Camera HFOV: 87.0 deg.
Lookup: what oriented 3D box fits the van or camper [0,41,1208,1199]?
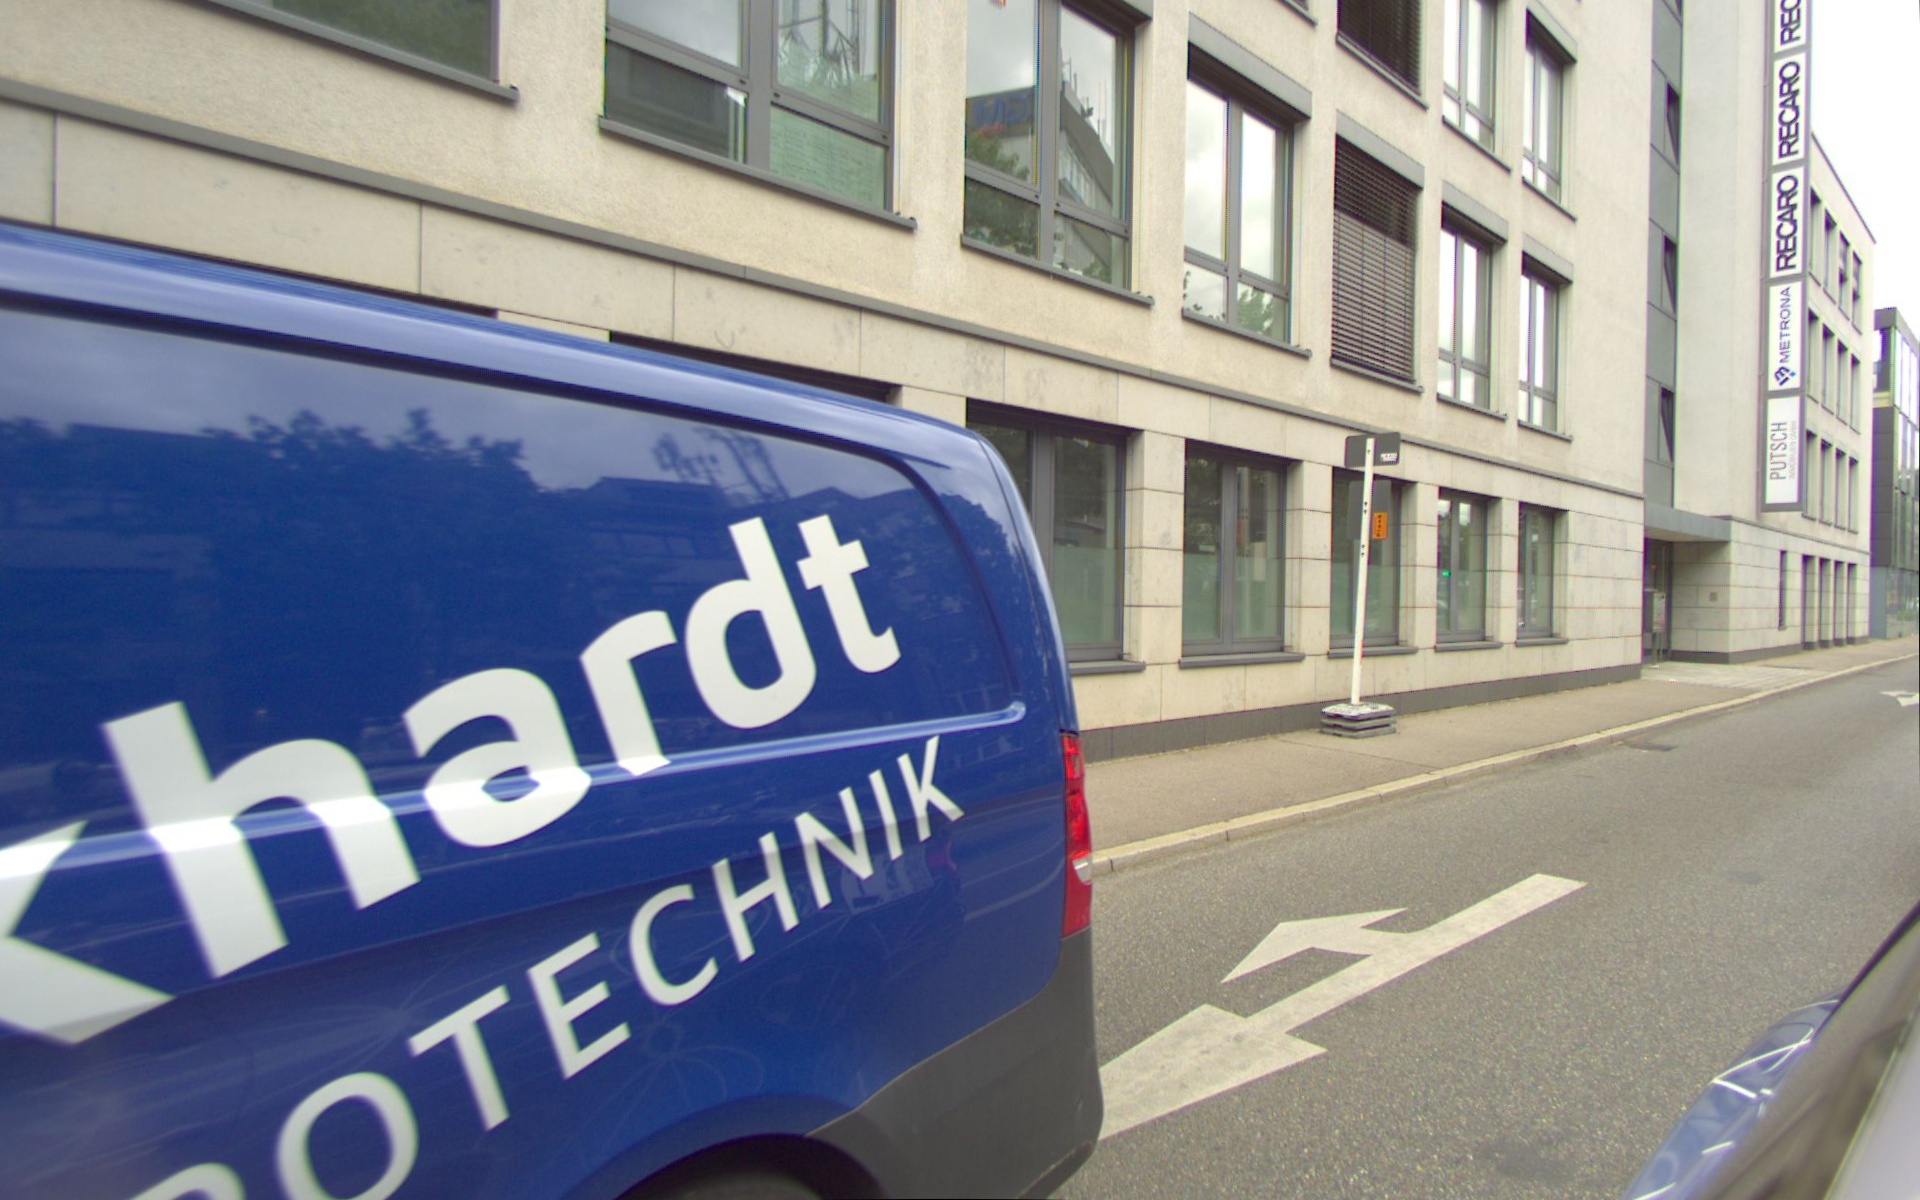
[{"bbox_3d":[-2.019,0.504,0.965,4.944,1.935,1.863,0,1,-41],"label":"van or camper"}]
